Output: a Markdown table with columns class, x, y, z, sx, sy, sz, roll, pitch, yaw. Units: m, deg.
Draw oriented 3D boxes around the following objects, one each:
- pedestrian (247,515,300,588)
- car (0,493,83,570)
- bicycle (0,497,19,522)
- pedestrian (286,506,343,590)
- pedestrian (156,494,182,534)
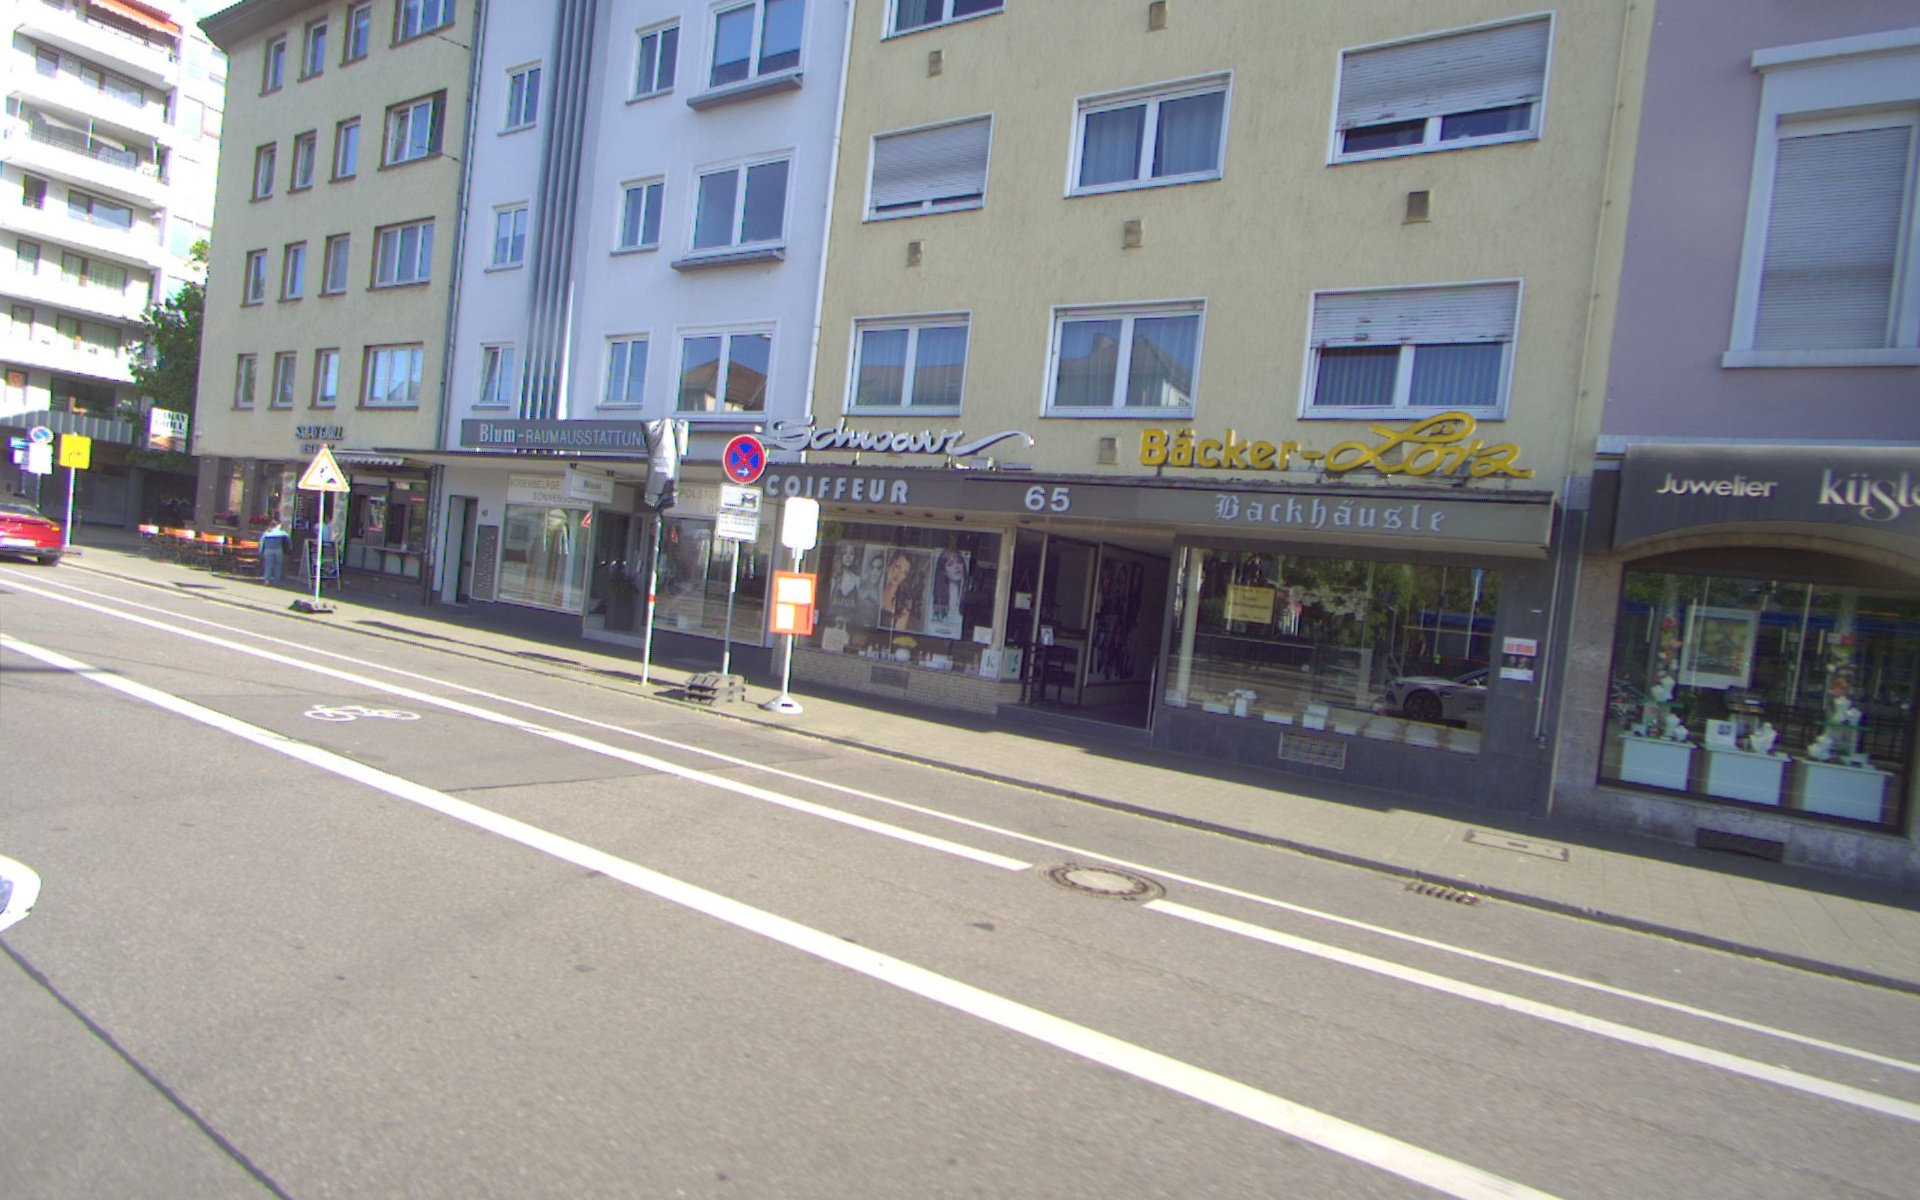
| class | x | y | z | sx | sy | sz | roll | pitch | yaw |
| --- | --- | --- | --- | --- | --- | --- | --- | --- | --- |
| pedestrian | -15.475 | -1.090 | 22.678 | 0.641 | 1.525 | 0.671 | 7 | 1 | 32 |
| car | -21.690 | -1.679 | 22.407 | 5.075 | 1.461 | 1.873 | 7 | 0 | 33 |
| bicycle | -39.159 | -3.745 | 40.258 | 2.018 | 0.955 | 1.006 | 7 | 0 | -39 |
| pedestrian | -15.452 | -1.242 | 24.080 | 0.887 | 1.878 | 0.729 | 7 | 1 | 35 |
| pedestrian | -39.664 | -4.321 | 50.424 | 0.667 | 1.876 | 0.656 | 7 | -1 | 34 |
